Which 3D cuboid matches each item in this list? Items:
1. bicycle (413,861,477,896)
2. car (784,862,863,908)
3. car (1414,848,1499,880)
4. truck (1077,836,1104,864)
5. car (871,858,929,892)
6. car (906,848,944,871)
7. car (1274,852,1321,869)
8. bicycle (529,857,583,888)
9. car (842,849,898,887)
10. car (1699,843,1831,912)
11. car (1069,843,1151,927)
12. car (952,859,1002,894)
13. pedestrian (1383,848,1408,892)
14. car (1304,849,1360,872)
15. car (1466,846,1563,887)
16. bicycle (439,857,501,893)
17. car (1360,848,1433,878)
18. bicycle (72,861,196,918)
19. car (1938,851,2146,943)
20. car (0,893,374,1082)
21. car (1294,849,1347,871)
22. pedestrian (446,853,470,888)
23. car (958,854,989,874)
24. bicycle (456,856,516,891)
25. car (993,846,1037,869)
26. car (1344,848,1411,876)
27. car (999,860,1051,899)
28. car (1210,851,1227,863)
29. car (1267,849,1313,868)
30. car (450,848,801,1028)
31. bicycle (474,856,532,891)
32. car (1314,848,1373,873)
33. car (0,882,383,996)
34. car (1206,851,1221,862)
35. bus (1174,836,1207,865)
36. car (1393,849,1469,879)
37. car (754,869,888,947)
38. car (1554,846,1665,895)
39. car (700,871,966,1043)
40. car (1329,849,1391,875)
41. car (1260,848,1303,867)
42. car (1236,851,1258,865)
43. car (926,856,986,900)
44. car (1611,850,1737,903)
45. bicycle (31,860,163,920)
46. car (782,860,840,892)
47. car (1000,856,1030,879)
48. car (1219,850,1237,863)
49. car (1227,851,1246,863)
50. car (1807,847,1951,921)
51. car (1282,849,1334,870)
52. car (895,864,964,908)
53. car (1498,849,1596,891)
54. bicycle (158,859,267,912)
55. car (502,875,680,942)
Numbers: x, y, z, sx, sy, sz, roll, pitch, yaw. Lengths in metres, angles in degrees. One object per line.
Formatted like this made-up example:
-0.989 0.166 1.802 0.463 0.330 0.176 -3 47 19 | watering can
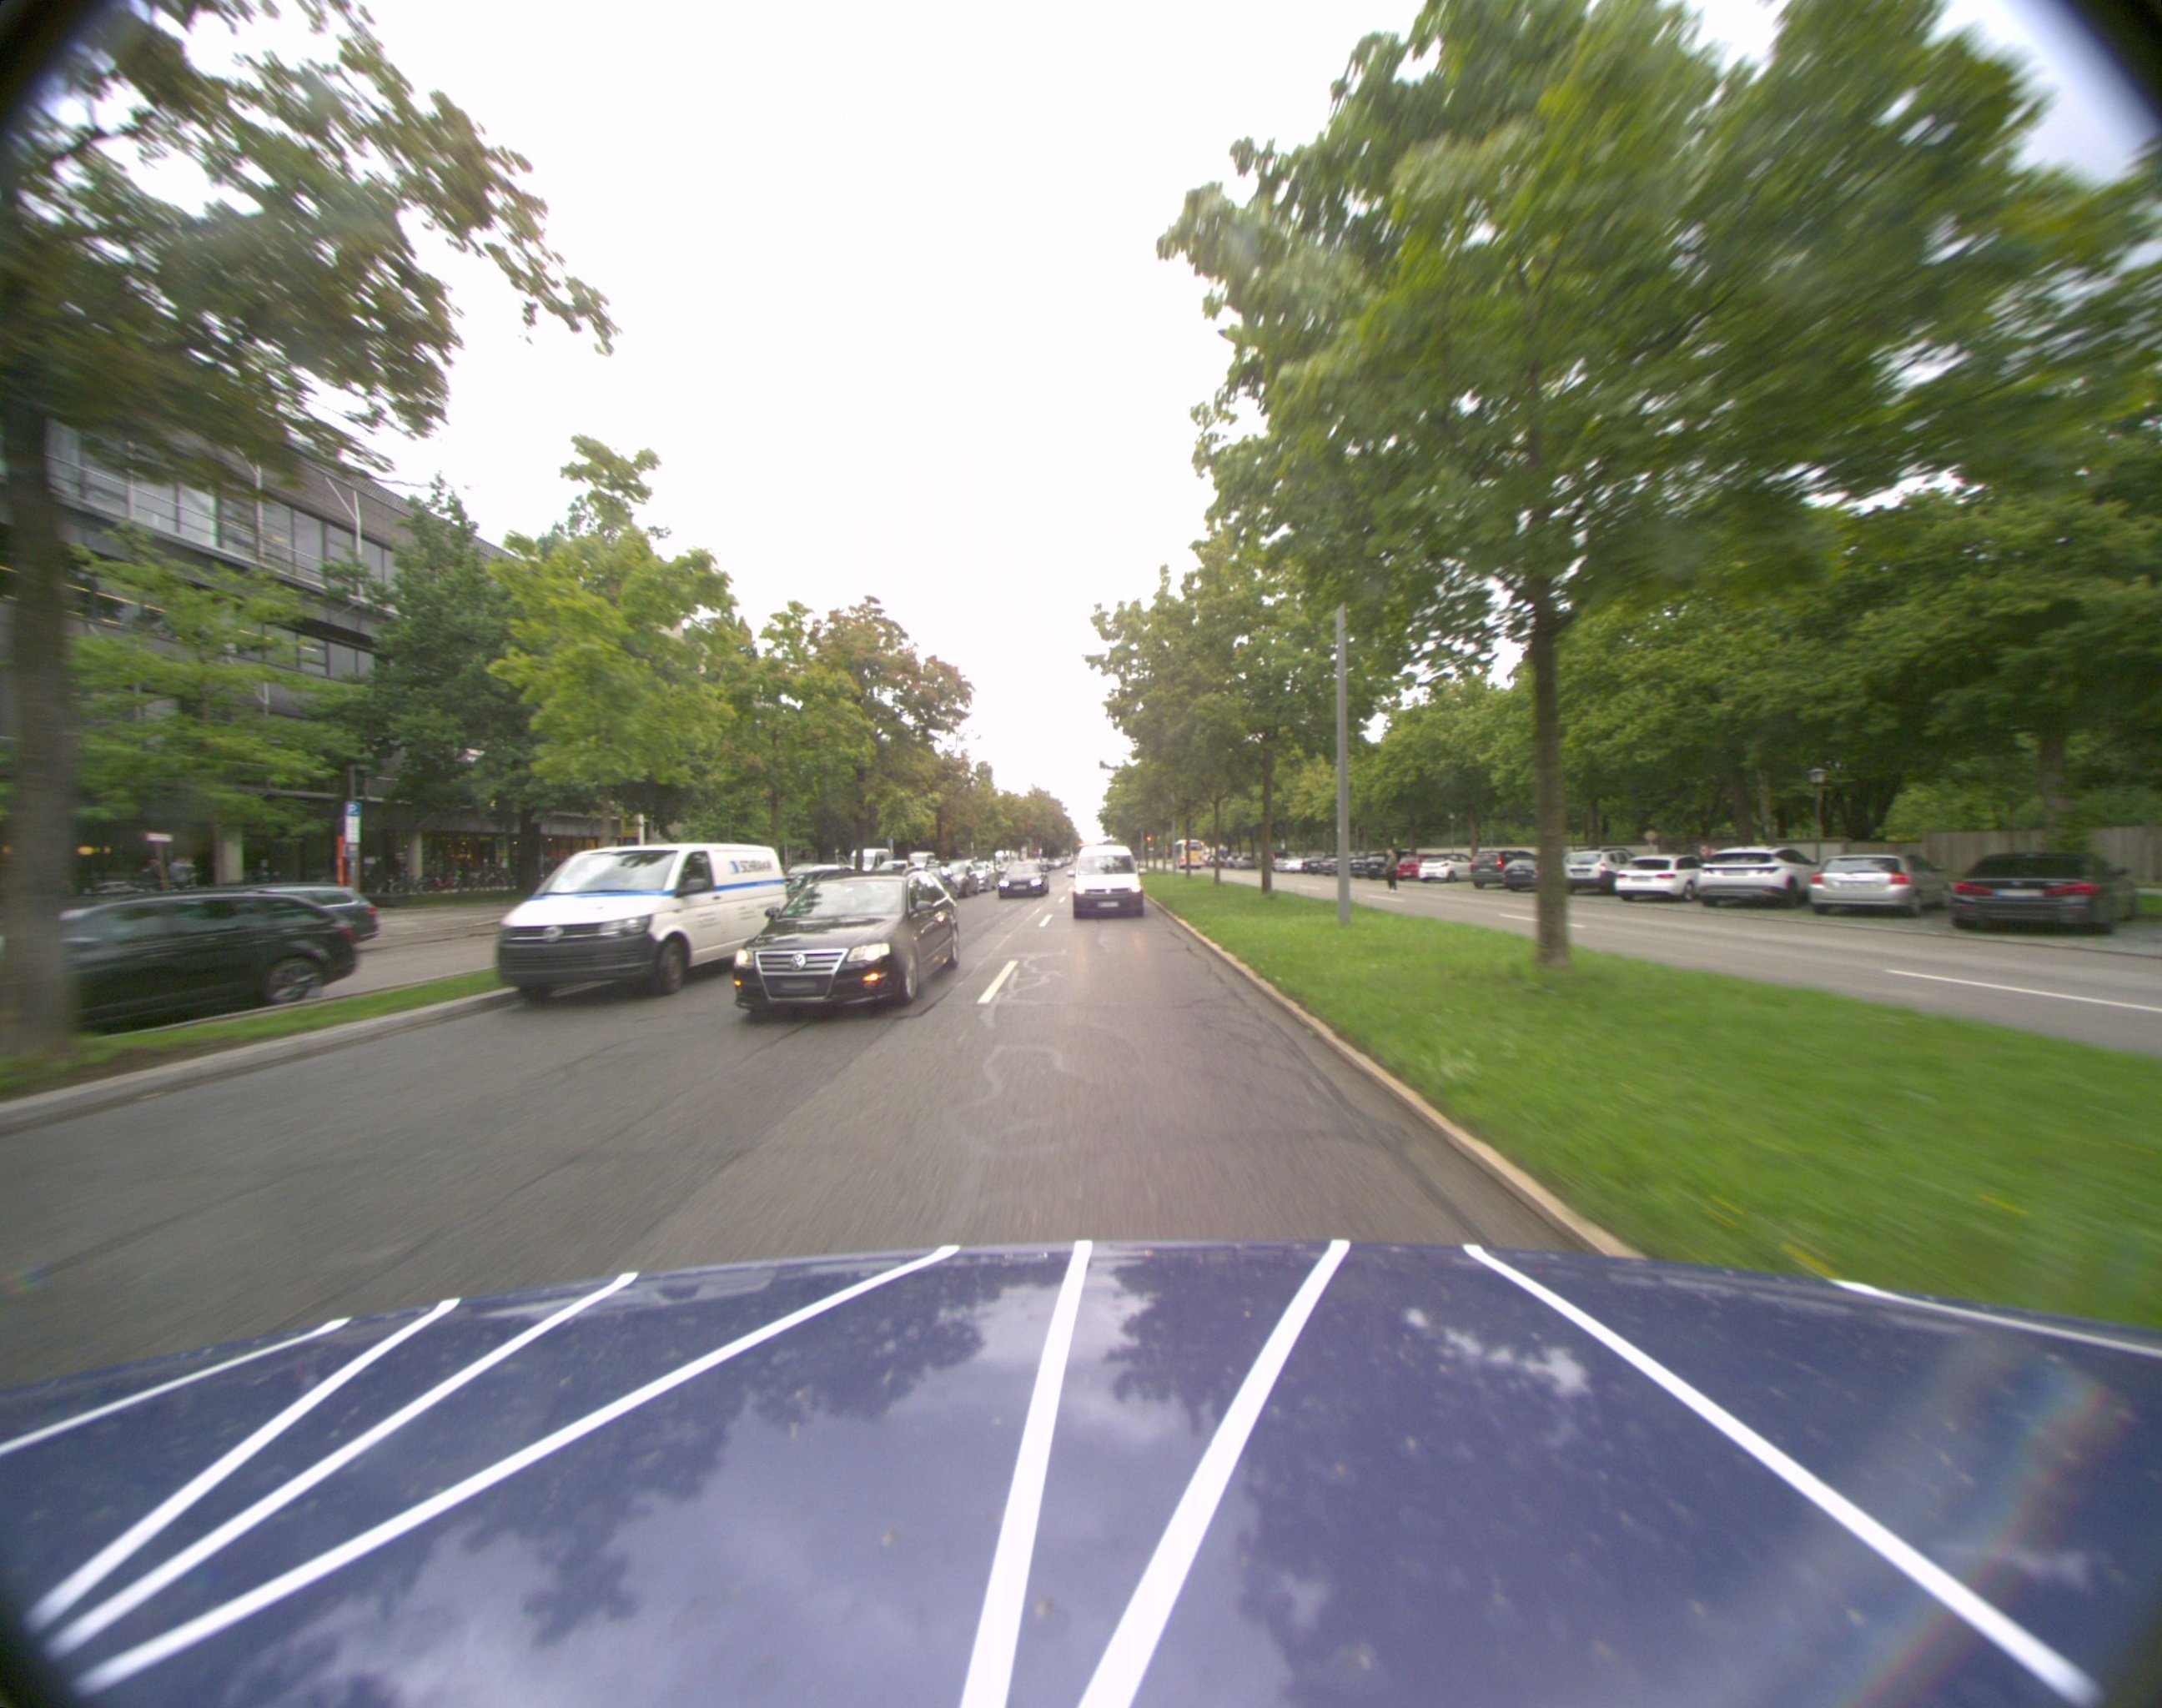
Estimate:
-28.493 1.096 34.041 2.313 1.523 0.649 -1 1 1 | bicycle
-9.538 1.095 28.456 1.655 1.510 3.876 -3 0 -2 | car
19.812 0.543 40.096 4.005 1.455 1.888 -3 0 -26 | car
1.228 -0.530 92.624 3.046 3.170 9.133 -2 0 2 | truck
-9.493 1.061 40.203 1.826 1.581 4.875 -3 0 0 | car
-14.812 0.511 72.502 2.268 2.091 5.858 -1 0 2 | car
19.290 0.551 67.615 4.005 1.358 1.588 -2 1 -29 | car
-28.374 0.979 41.099 2.316 1.613 0.648 -1 1 -15 | bicycle
-15.257 0.955 55.287 2.268 2.514 5.858 -1 0 2 | car
18.981 0.589 21.038 4.006 1.613 1.797 -3 1 -34 | car
0.664 0.696 19.370 1.750 1.807 4.667 -3 0 0 | car
-5.222 1.081 38.713 1.686 1.513 4.465 -4 0 2 | car
12.479 0.620 30.184 0.872 1.689 0.771 0 2 21 | pedestrian
19.461 0.485 58.809 4.006 1.548 1.887 -3 0 -31 | car
19.336 0.560 33.842 4.005 1.577 1.798 -3 0 -27 | car
-28.362 0.987 35.284 2.313 1.613 0.649 -1 1 1 | bicycle
19.172 0.534 46.186 4.005 1.548 1.888 -3 0 -26 | car
-28.061 1.029 22.557 2.316 1.613 0.648 -1 1 -16 | bicycle
18.461 0.732 14.573 4.005 1.425 1.797 -2 1 -28 | car
-10.123 1.274 7.526 1.732 1.424 4.691 -2 0 1 | car
19.532 0.446 61.880 4.006 1.548 1.887 -3 0 -31 | car
-33.083 0.860 40.335 0.666 1.794 0.730 1 1 16 | pedestrian
-8.803 0.806 62.611 1.826 1.534 4.054 -3 0 1 | car
-28.316 0.927 36.185 2.313 1.613 0.649 -1 1 1 | bicycle
-8.092 0.410 94.090 1.974 2.642 6.017 -2 0 34 | car
19.187 0.499 49.125 4.006 1.548 1.887 -3 0 -31 | car
-2.269 1.019 31.970 1.763 1.405 4.462 -3 0 0 | car
19.049 0.414 105.635 1.889 1.435 4.170 -2 1 5 | car
19.590 0.401 71.153 4.006 1.632 1.887 -3 1 -33 | car
-5.955 0.924 10.884 1.885 1.916 4.933 -3 0 1 | car
-28.213 0.944 37.088 2.313 1.613 0.649 -1 1 1 | bicycle
19.149 0.469 55.341 4.006 1.548 1.887 -3 0 -31 | car
-15.747 1.366 13.741 1.826 1.522 4.603 0 0 3 | car
19.386 0.344 111.316 1.889 1.435 4.170 -2 1 5 | car
12.948 -0.450 90.914 2.676 3.279 11.926 0 1 2 | bus
19.915 0.556 43.181 4.005 1.446 1.737 -3 0 -26 | car
-5.829 1.139 17.569 1.700 1.440 4.041 -3 0 -1 | car
19.404 0.559 27.865 4.331 1.564 1.797 -3 1 -33 | car
-2.661 1.019 9.352 1.735 1.424 4.442 -3 0 0 | car
19.258 0.520 52.409 4.006 1.548 1.887 -3 0 -31 | car
19.573 0.328 74.228 4.006 1.718 1.777 -3 1 -33 | car
18.574 0.464 85.391 1.889 1.435 4.170 -2 1 5 | car
-5.400 0.988 33.305 1.686 1.632 4.465 -4 0 1 | car
18.882 0.663 24.146 4.331 1.430 1.797 -3 1 -33 | car
-27.955 1.002 21.629 2.316 1.613 0.648 -1 1 -16 | bicycle
-15.175 1.197 42.930 1.865 1.624 4.340 0 0 -2 | car
-4.823 0.971 56.063 1.735 1.498 4.442 -3 0 0 | car
18.782 0.319 97.307 1.889 1.435 4.170 -2 1 5 | car
18.691 0.372 91.438 1.741 1.363 4.170 -2 1 5 | car
19.191 0.650 18.230 4.007 1.457 1.797 -3 1 -35 | car
19.243 0.491 64.355 4.006 1.548 1.887 -3 0 -31 | car
-5.509 1.120 28.119 1.686 1.367 4.081 -3 0 0 | car
18.953 0.631 30.858 4.006 1.477 1.797 -3 0 -33 | car
-28.096 1.011 24.612 2.316 1.613 0.648 -1 1 -16 | bicycle
-12.816 1.361 20.262 1.726 1.371 4.352 -2 0 3 | car
